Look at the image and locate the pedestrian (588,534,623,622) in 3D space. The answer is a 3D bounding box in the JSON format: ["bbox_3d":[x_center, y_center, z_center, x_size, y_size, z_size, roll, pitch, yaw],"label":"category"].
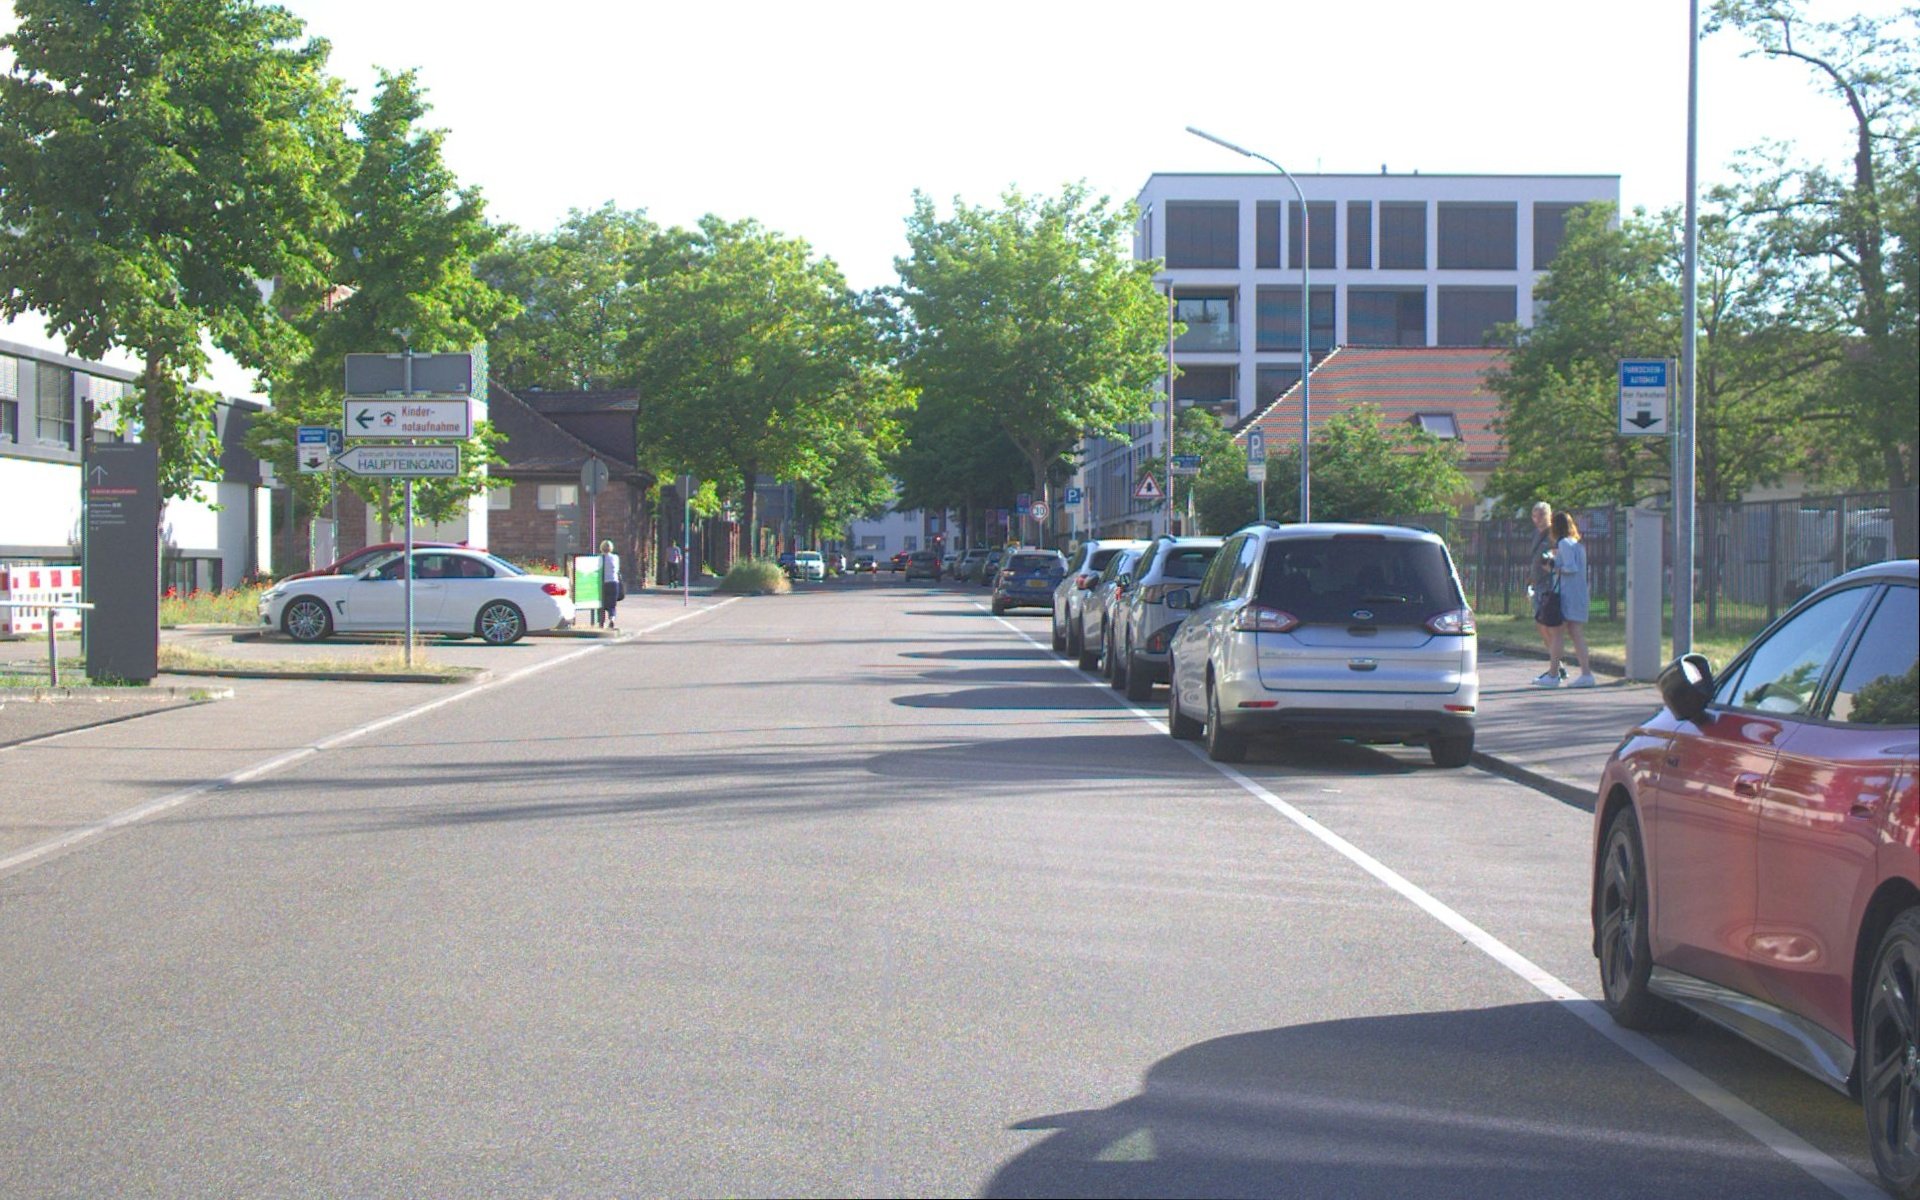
[{"bbox_3d":[-6.128,-0.383,59.482,0.538,1.518,0.607,0,1,0],"label":"pedestrian"}]

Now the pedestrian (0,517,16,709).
[{"bbox_3d":[-8.100,0.092,27.612,0.772,1.544,0.780,2,0,-1],"label":"pedestrian"}]

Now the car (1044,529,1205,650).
[{"bbox_3d":[2.274,-0.183,48.564,1.812,1.583,4.263,2,1,-3],"label":"car"}]

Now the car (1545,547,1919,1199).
[{"bbox_3d":[2.998,0.649,9.339,1.809,1.505,4.723,2,1,-2],"label":"car"}]

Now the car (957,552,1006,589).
[{"bbox_3d":[0.855,-1.178,137.221,1.767,1.435,4.000,0,1,-2],"label":"car"}]

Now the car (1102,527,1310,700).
[{"bbox_3d":[2.438,0.090,34.991,1.700,1.601,4.353,2,1,-1],"label":"car"}]

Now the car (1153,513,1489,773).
[{"bbox_3d":[2.587,0.244,25.729,1.809,1.716,4.705,2,1,-2],"label":"car"}]

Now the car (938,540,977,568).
[{"bbox_3d":[-0.139,-2.455,182.427,1.993,1.460,3.836,0,1,0],"label":"car"}]

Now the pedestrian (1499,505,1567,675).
[{"bbox_3d":[5.864,-0.105,35.172,0.521,1.702,0.522,2,0,-3],"label":"pedestrian"}]

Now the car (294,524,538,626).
[{"bbox_3d":[-8.493,-0.400,53.904,3.634,1.464,1.614,1,1,-5],"label":"car"}]

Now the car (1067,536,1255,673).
[{"bbox_3d":[2.337,0.019,40.850,1.700,1.482,3.981,2,1,-4],"label":"car"}]

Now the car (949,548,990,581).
[{"bbox_3d":[0.453,-1.713,166.303,1.950,1.573,3.836,0,1,0],"label":"car"}]

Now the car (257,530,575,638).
[{"bbox_3d":[-8.017,-0.248,50.947,4.511,1.362,1.700,3,1,-6],"label":"car"}]

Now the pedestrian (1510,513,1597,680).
[{"bbox_3d":[5.829,-0.040,33.793,0.681,1.606,0.541,2,0,-3],"label":"pedestrian"}]

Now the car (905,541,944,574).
[{"bbox_3d":[-1.729,-2.034,165.158,1.767,1.543,4.066,0,1,-2],"label":"car"}]

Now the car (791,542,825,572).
[{"bbox_3d":[-7.837,-2.223,177.439,1.767,1.482,4.000,0,1,-2],"label":"car"}]

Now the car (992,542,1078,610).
[{"bbox_3d":[1.644,-0.560,76.359,1.818,1.448,4.214,0,1,0],"label":"car"}]
